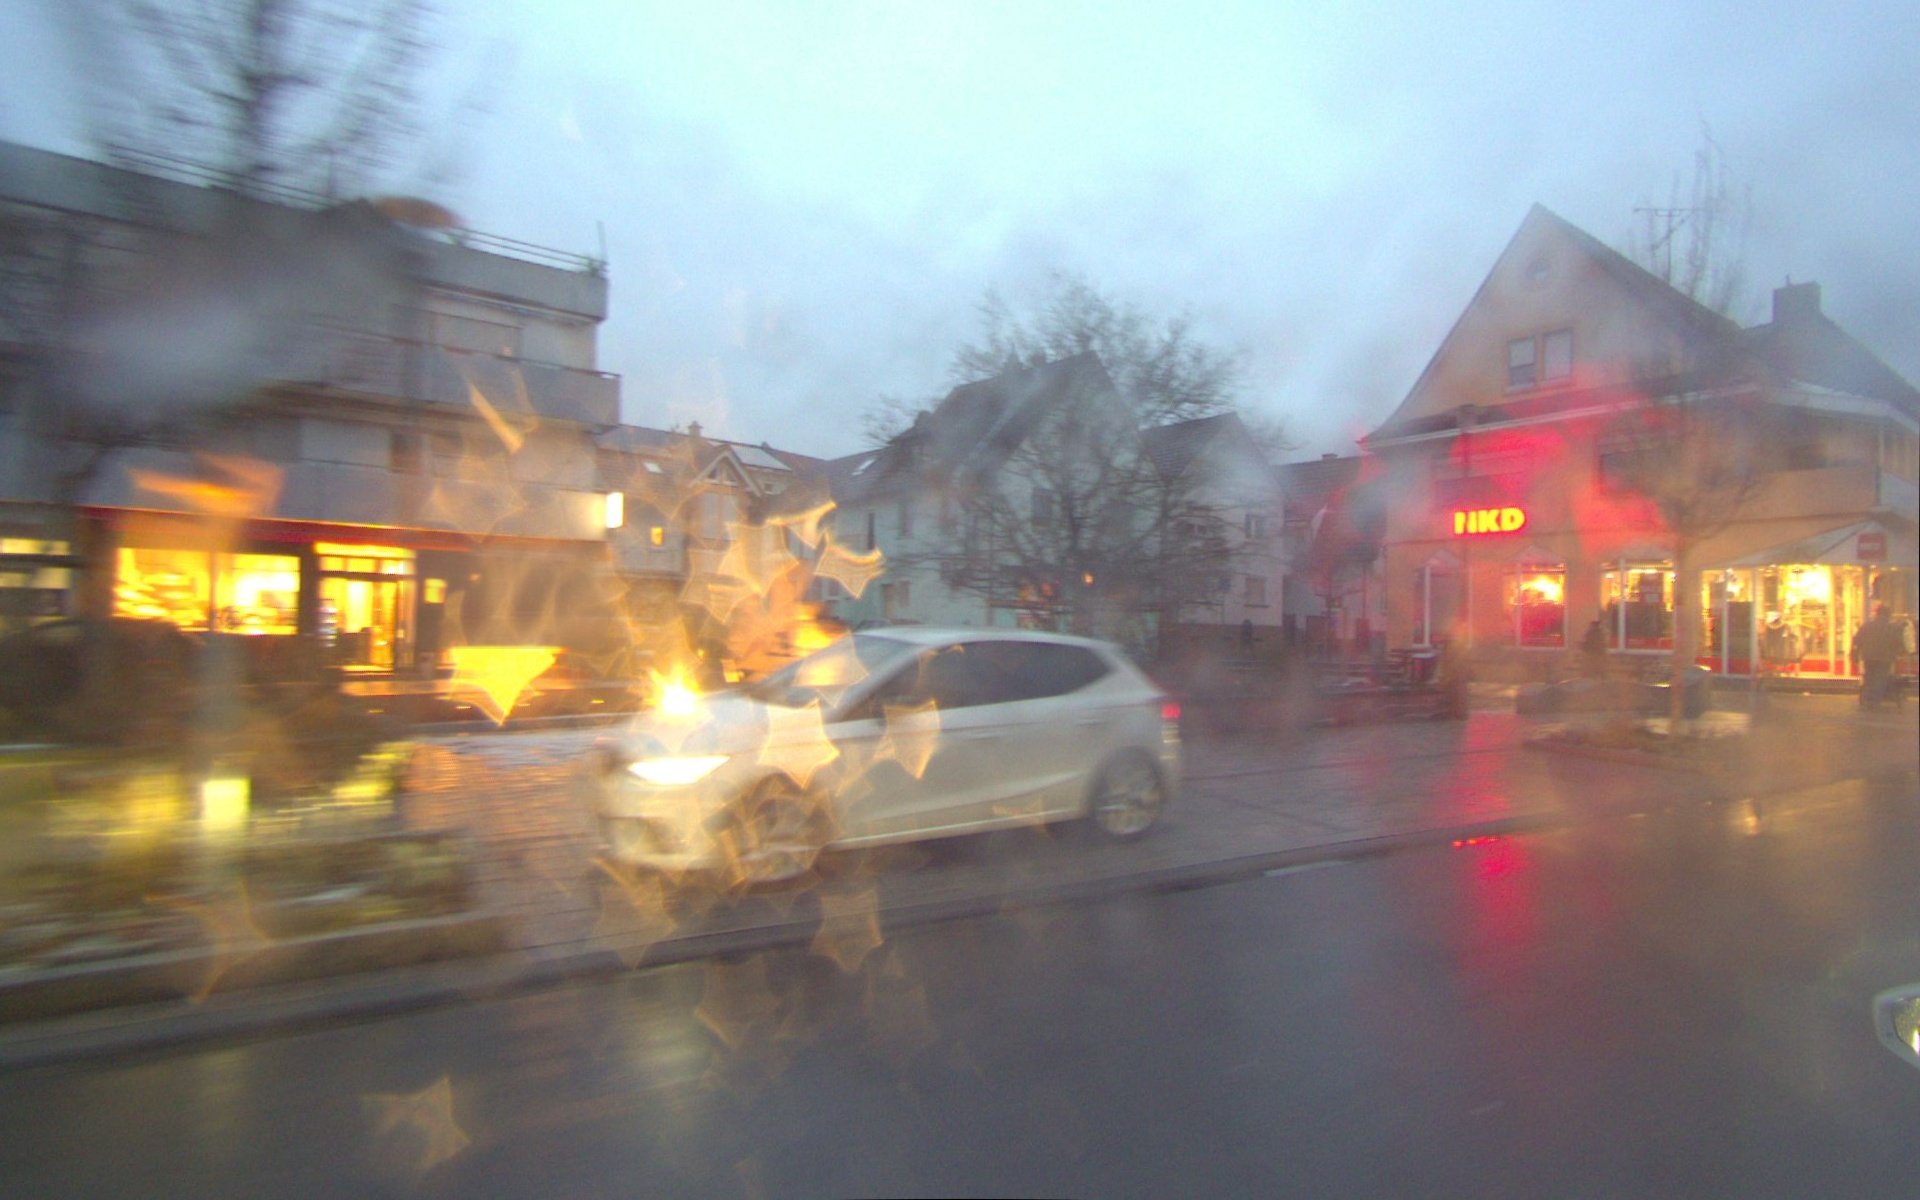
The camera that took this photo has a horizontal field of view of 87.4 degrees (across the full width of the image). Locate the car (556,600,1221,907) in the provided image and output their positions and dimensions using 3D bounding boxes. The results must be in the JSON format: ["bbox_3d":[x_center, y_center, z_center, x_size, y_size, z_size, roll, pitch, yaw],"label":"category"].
[{"bbox_3d":[-0.394,0.817,6.806,4.133,1.508,1.776,2,0,-30],"label":"car"}]

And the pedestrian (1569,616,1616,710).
[{"bbox_3d":[14.314,1.407,22.738,0.722,2.040,0.825,2,0,23],"label":"pedestrian"}]

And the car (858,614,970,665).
[{"bbox_3d":[-1.602,1.301,33.868,1.965,1.624,3.961,1,-2,-35],"label":"car"}]

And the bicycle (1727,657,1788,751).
[{"bbox_3d":[10.301,1.313,12.956,1.733,1.075,0.321,0,-5,-45],"label":"bicycle"}]

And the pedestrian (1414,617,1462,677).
[{"bbox_3d":[10.388,1.012,21.850,0.673,1.262,0.826,1,0,4],"label":"pedestrian"}]

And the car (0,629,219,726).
[{"bbox_3d":[-15.499,1.308,17.640,3.964,1.584,1.979,2,-3,-38],"label":"car"}]

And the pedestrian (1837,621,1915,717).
[{"bbox_3d":[16.872,1.253,18.507,1.086,1.680,0.821,1,0,-35],"label":"pedestrian"}]

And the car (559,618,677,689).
[{"bbox_3d":[-9.865,1.509,28.840,1.983,1.868,3.955,2,-3,-39],"label":"car"}]

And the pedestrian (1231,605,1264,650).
[{"bbox_3d":[11.560,1.085,40.370,0.834,1.739,0.909,1,2,-41],"label":"pedestrian"}]
